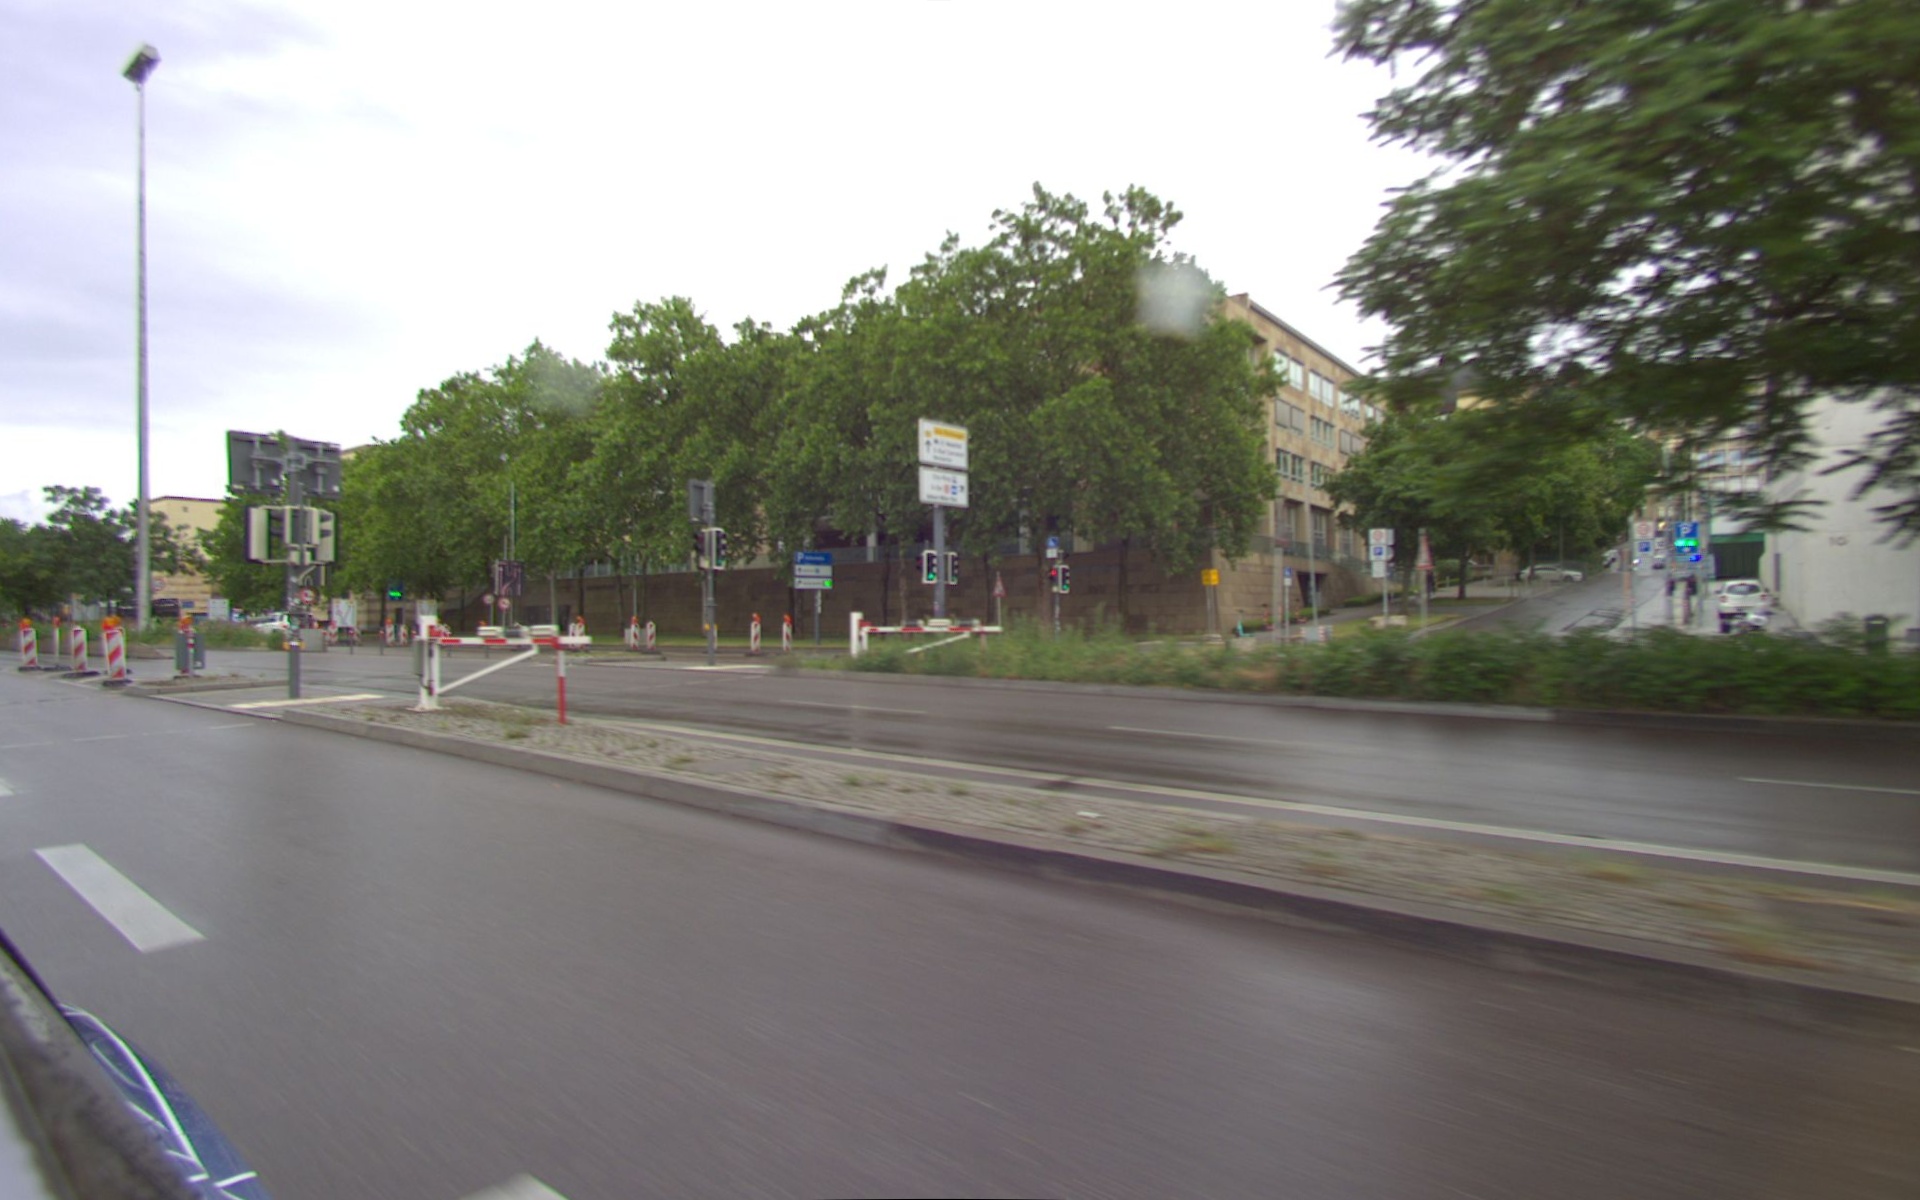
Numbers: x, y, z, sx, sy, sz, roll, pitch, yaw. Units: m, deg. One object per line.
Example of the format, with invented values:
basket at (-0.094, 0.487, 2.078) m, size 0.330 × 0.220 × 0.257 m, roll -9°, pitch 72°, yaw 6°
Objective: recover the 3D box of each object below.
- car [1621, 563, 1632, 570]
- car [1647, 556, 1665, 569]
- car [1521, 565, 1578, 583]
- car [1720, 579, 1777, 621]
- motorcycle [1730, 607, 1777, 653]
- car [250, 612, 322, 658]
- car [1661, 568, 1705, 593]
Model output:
car at (91.368, -4.531, 138.682) m, size 1.008 × 0.921 × 2.480 m, roll -1°, pitch 0°, yaw 39°
car at (88.826, -4.774, 129.110) m, size 1.591 × 1.490 × 3.140 m, roll -1°, pitch 0°, yaw 39°
car at (49.778, -2.177, 85.475) m, size 3.959 × 1.375 × 1.589 m, roll -1°, pitch 0°, yaw 38°
car at (32.632, -0.014, 41.869) m, size 1.760 × 1.624 × 3.486 m, roll -1°, pitch 0°, yaw 39°
motorcycle at (21.897, 0.820, 27.968) m, size 0.603 × 1.191 × 1.801 m, roll -1°, pitch 0°, yaw 25°
car at (-36.655, 1.875, 55.006) m, size 4.222 × 2.316 × 1.975 m, roll -1°, pitch 0°, yaw 38°
car at (45.131, -1.214, 63.150) m, size 2.034 × 1.472 × 3.685 m, roll -1°, pitch 0°, yaw 38°
